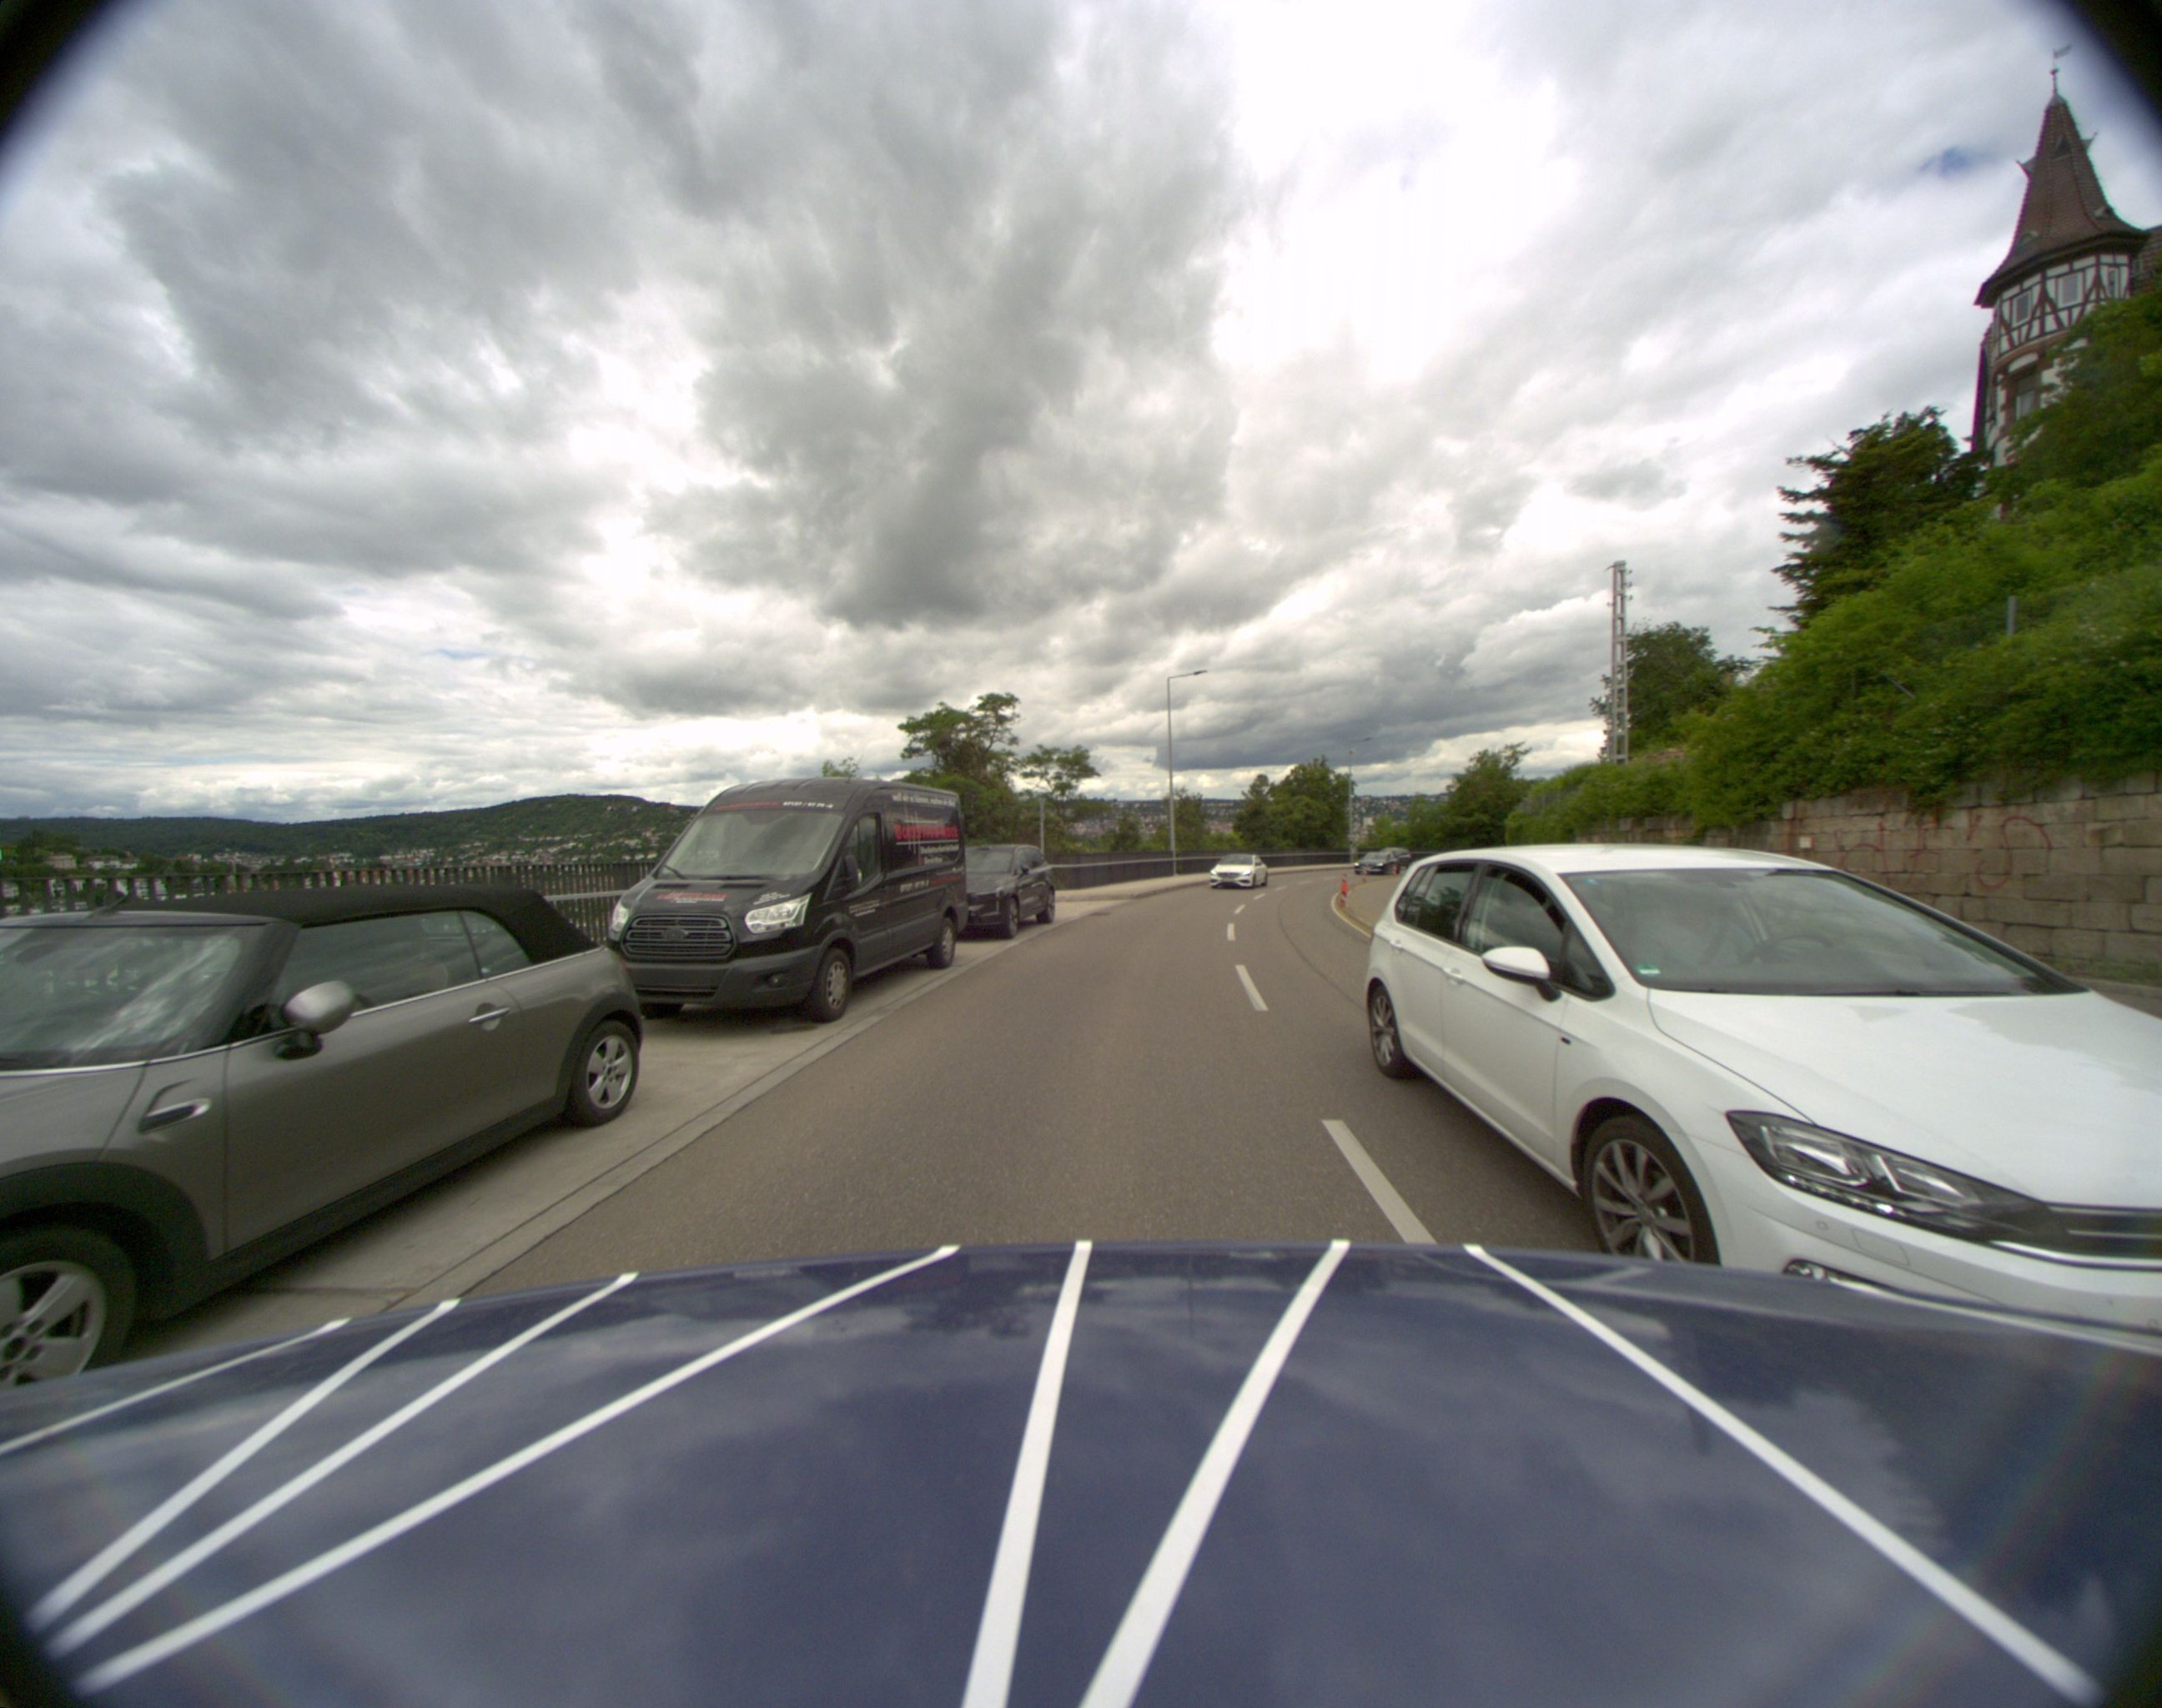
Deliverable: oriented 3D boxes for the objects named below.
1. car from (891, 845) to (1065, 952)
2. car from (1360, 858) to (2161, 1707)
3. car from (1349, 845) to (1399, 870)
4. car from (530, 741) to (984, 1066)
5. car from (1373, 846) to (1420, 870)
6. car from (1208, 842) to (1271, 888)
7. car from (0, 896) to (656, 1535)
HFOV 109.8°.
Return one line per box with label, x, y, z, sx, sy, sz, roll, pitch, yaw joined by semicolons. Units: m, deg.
car;-1.837;0.717;15.500;1.997;1.708;5.052;1;2;11
car;2.774;0.808;3.503;1.824;1.571;4.358;0;0;7
car;19.053;0.225;49.292;1.897;1.485;4.150;-1;0;37
car;-2.995;0.336;8.898;2.170;2.507;5.774;2;1;8
car;22.339;0.237;53.743;1.919;1.485;4.149;1;3;40
car;6.846;0.405;32.613;1.995;1.709;4.005;1;3;21
car;-3.569;1.001;2.848;1.718;1.423;3.850;-1;1;1
